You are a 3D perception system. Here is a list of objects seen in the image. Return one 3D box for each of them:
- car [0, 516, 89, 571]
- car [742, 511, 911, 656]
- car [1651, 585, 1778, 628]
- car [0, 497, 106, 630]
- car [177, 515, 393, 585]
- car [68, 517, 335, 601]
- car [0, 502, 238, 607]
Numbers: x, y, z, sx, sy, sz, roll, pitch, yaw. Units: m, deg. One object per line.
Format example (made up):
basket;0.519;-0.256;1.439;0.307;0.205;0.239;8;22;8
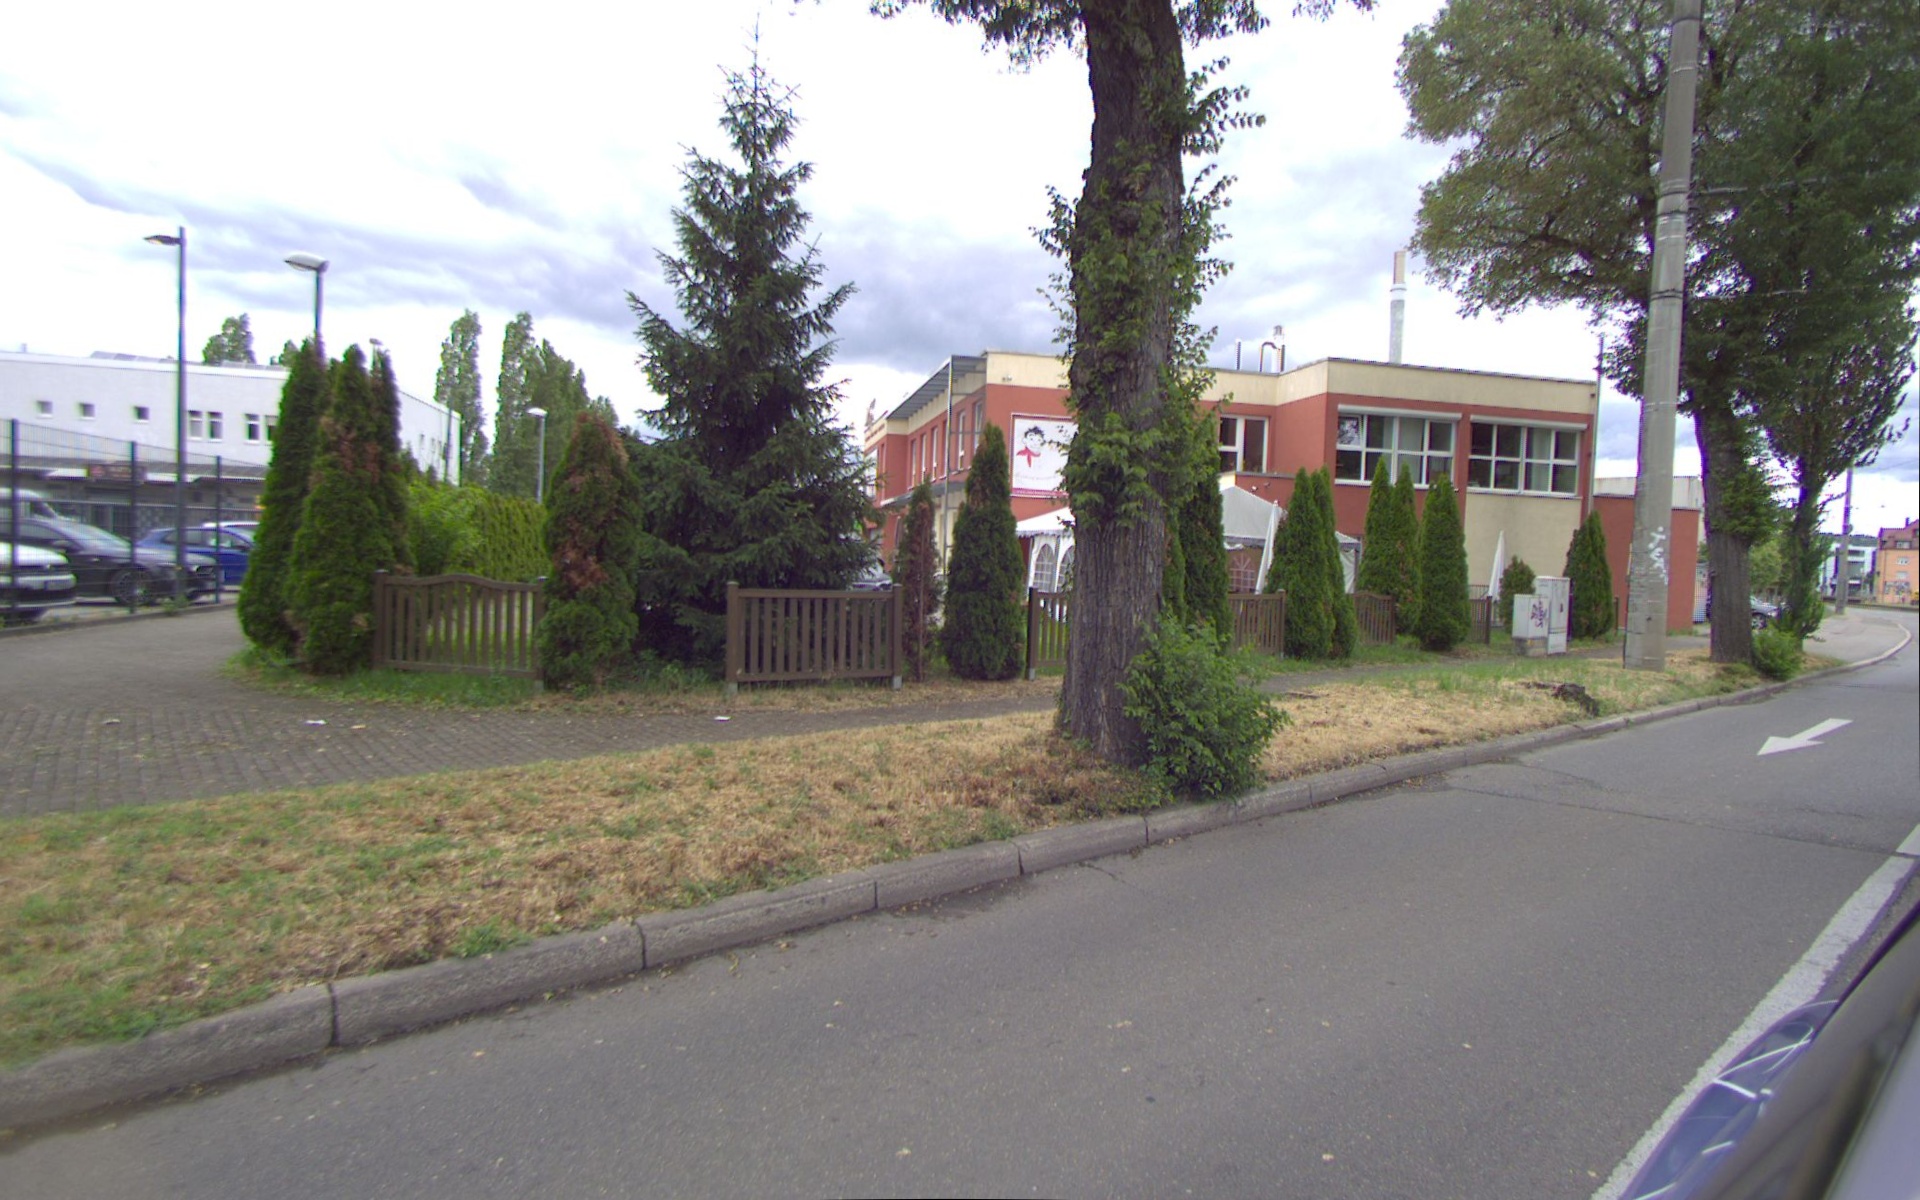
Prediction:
car;-30.773;-1.787;32.206;4.181;1.670;2.004;0;0;-17
car;-2.304;-0.260;16.473;1.958;2.039;4.008;0;0;-19
car;30.855;0.247;41.435;3.986;1.666;1.867;0;0;43
car;-14.435;-0.553;13.349;4.407;1.686;2.005;1;2;-14
car;-17.977;-1.314;27.195;4.407;1.686;2.005;1;2;-14
car;-17.021;-0.917;22.961;4.407;1.686;2.005;1;2;-14
car;-15.559;-0.803;17.655;4.407;1.686;2.005;1;2;-14
